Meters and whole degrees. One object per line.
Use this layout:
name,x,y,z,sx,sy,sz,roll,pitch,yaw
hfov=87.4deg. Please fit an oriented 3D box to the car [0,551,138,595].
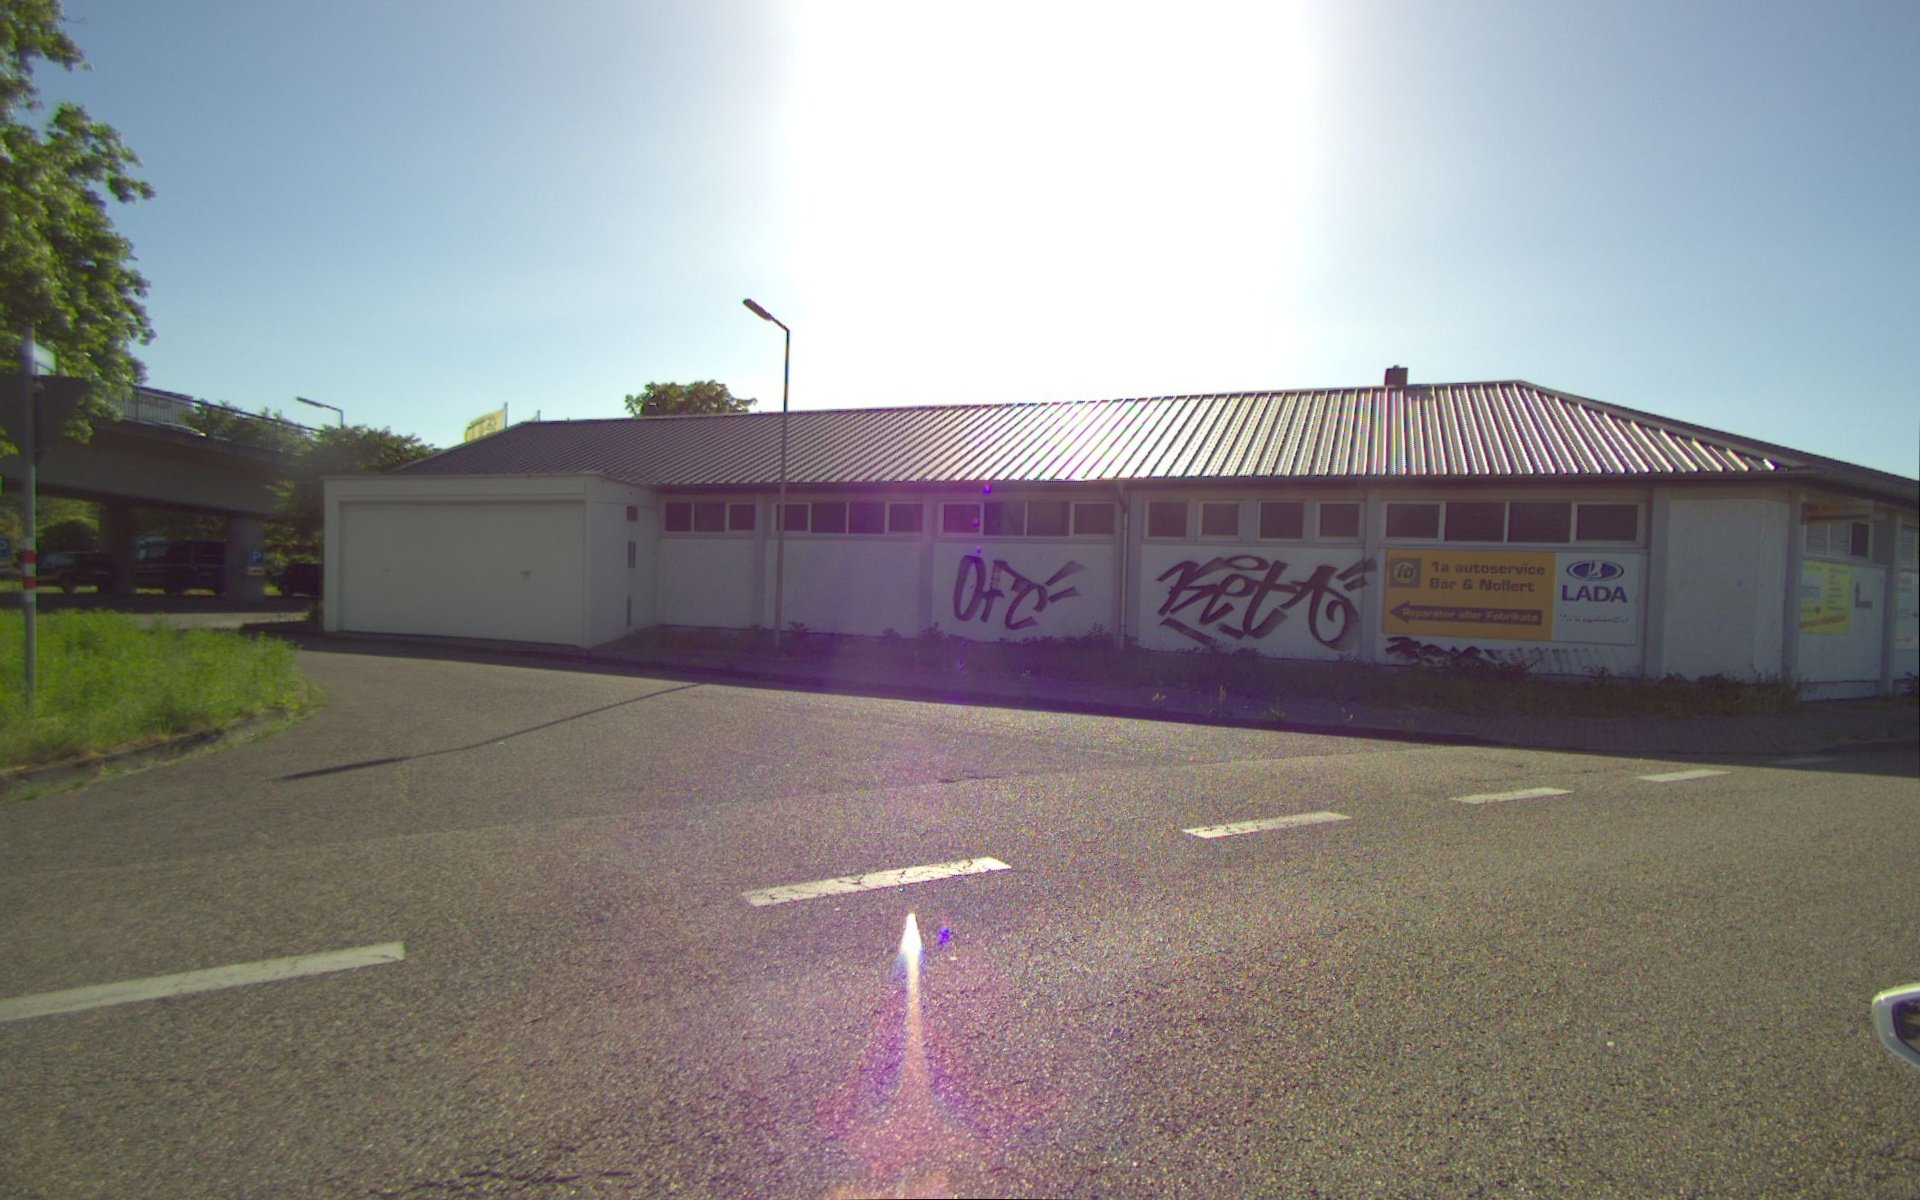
car,-36.788,-1.105,41.520,4.394,1.666,2.001,2,0,12

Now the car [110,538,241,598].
car,-35.482,-1.456,45.440,5.098,2.507,2.001,2,0,16

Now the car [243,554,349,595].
car,-39.725,-1.490,60.265,2.021,2.230,5.128,2,0,19

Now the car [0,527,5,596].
car,-38.682,-1.517,36.854,6.275,2.540,2.001,2,0,12
